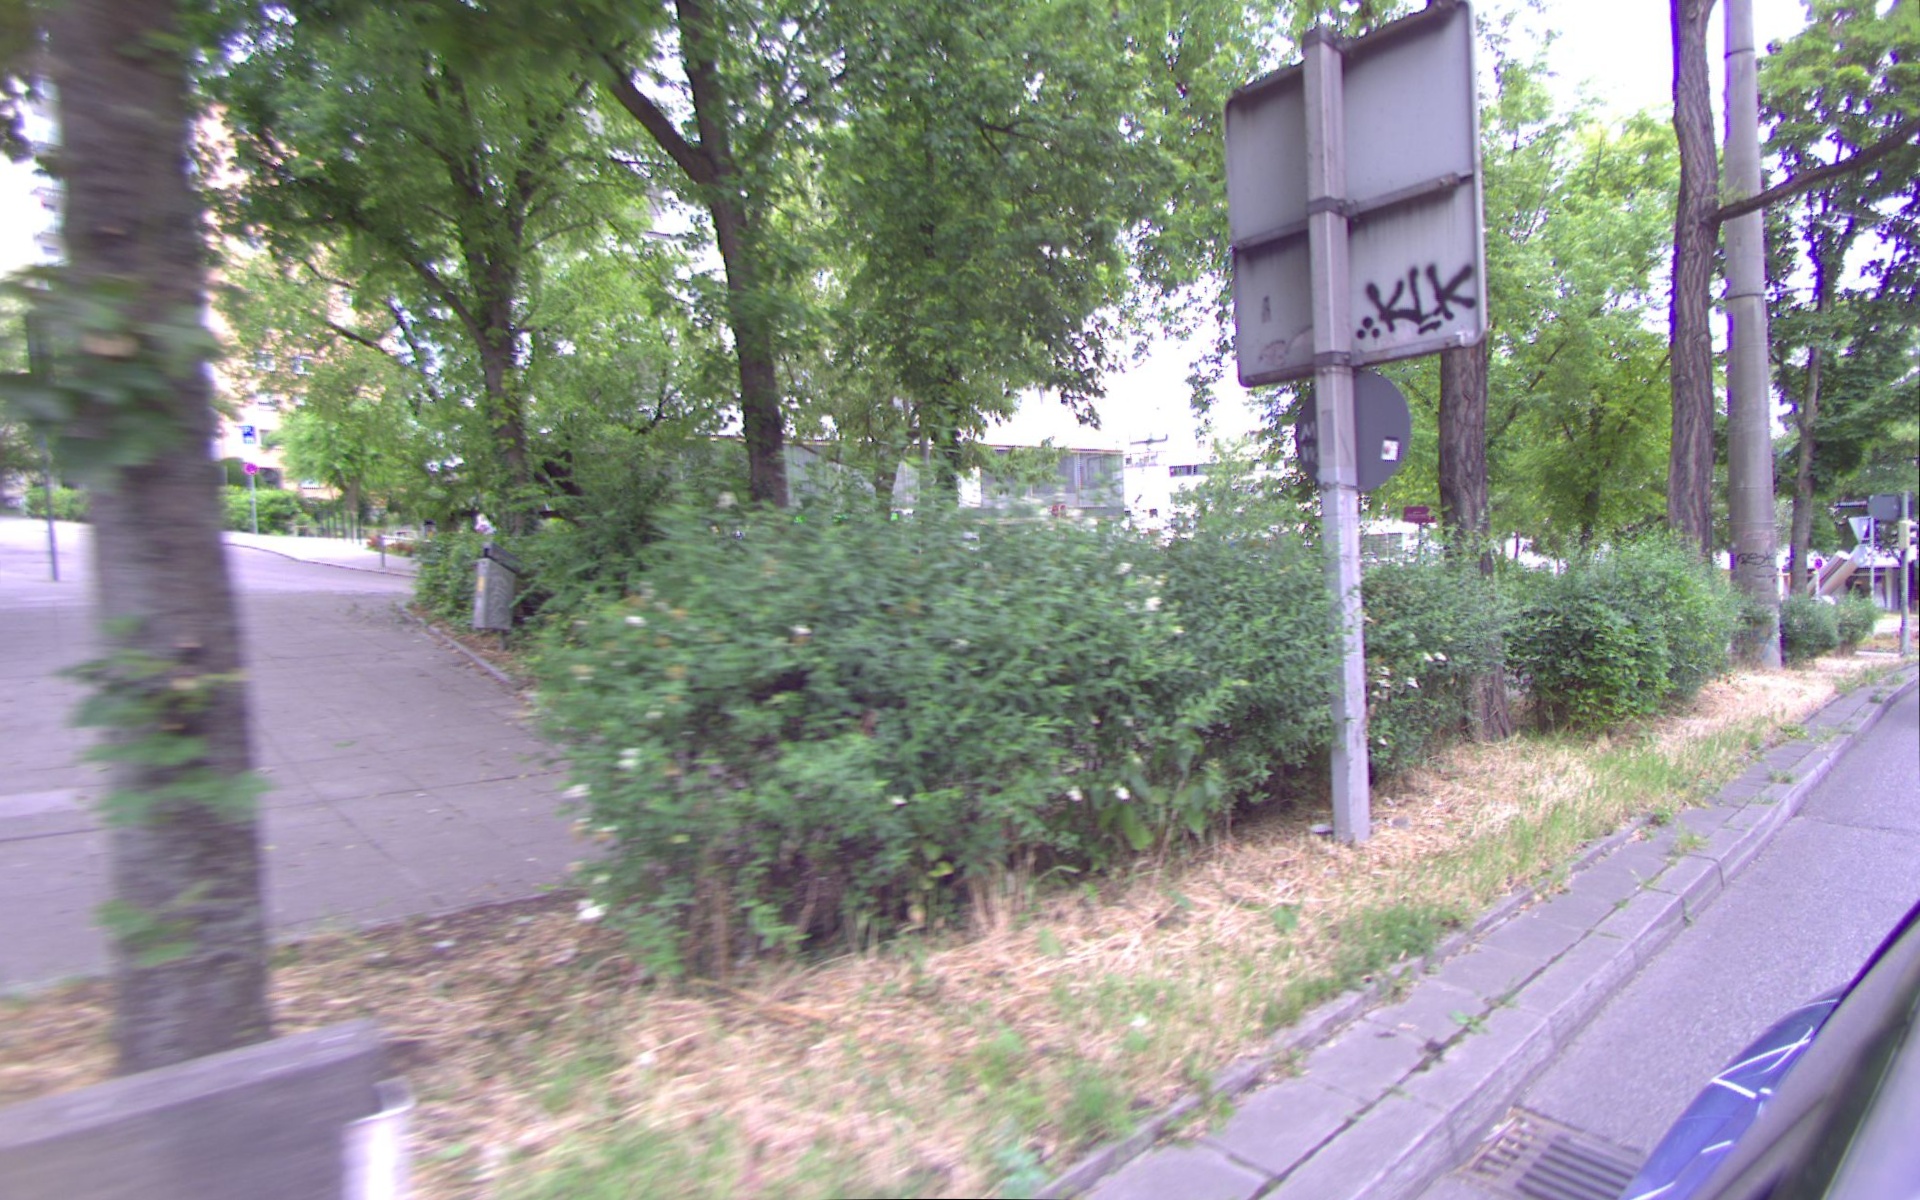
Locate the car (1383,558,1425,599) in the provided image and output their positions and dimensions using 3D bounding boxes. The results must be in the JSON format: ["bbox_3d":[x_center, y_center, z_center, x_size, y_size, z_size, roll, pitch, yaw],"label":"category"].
[{"bbox_3d":[25.922,-1.257,59.113,2.104,2.241,4.854,1,1,24],"label":"car"}]

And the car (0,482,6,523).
[{"bbox_3d":[-44.887,-4.411,45.047,4.841,1.775,1.983,3,3,26],"label":"car"}]
